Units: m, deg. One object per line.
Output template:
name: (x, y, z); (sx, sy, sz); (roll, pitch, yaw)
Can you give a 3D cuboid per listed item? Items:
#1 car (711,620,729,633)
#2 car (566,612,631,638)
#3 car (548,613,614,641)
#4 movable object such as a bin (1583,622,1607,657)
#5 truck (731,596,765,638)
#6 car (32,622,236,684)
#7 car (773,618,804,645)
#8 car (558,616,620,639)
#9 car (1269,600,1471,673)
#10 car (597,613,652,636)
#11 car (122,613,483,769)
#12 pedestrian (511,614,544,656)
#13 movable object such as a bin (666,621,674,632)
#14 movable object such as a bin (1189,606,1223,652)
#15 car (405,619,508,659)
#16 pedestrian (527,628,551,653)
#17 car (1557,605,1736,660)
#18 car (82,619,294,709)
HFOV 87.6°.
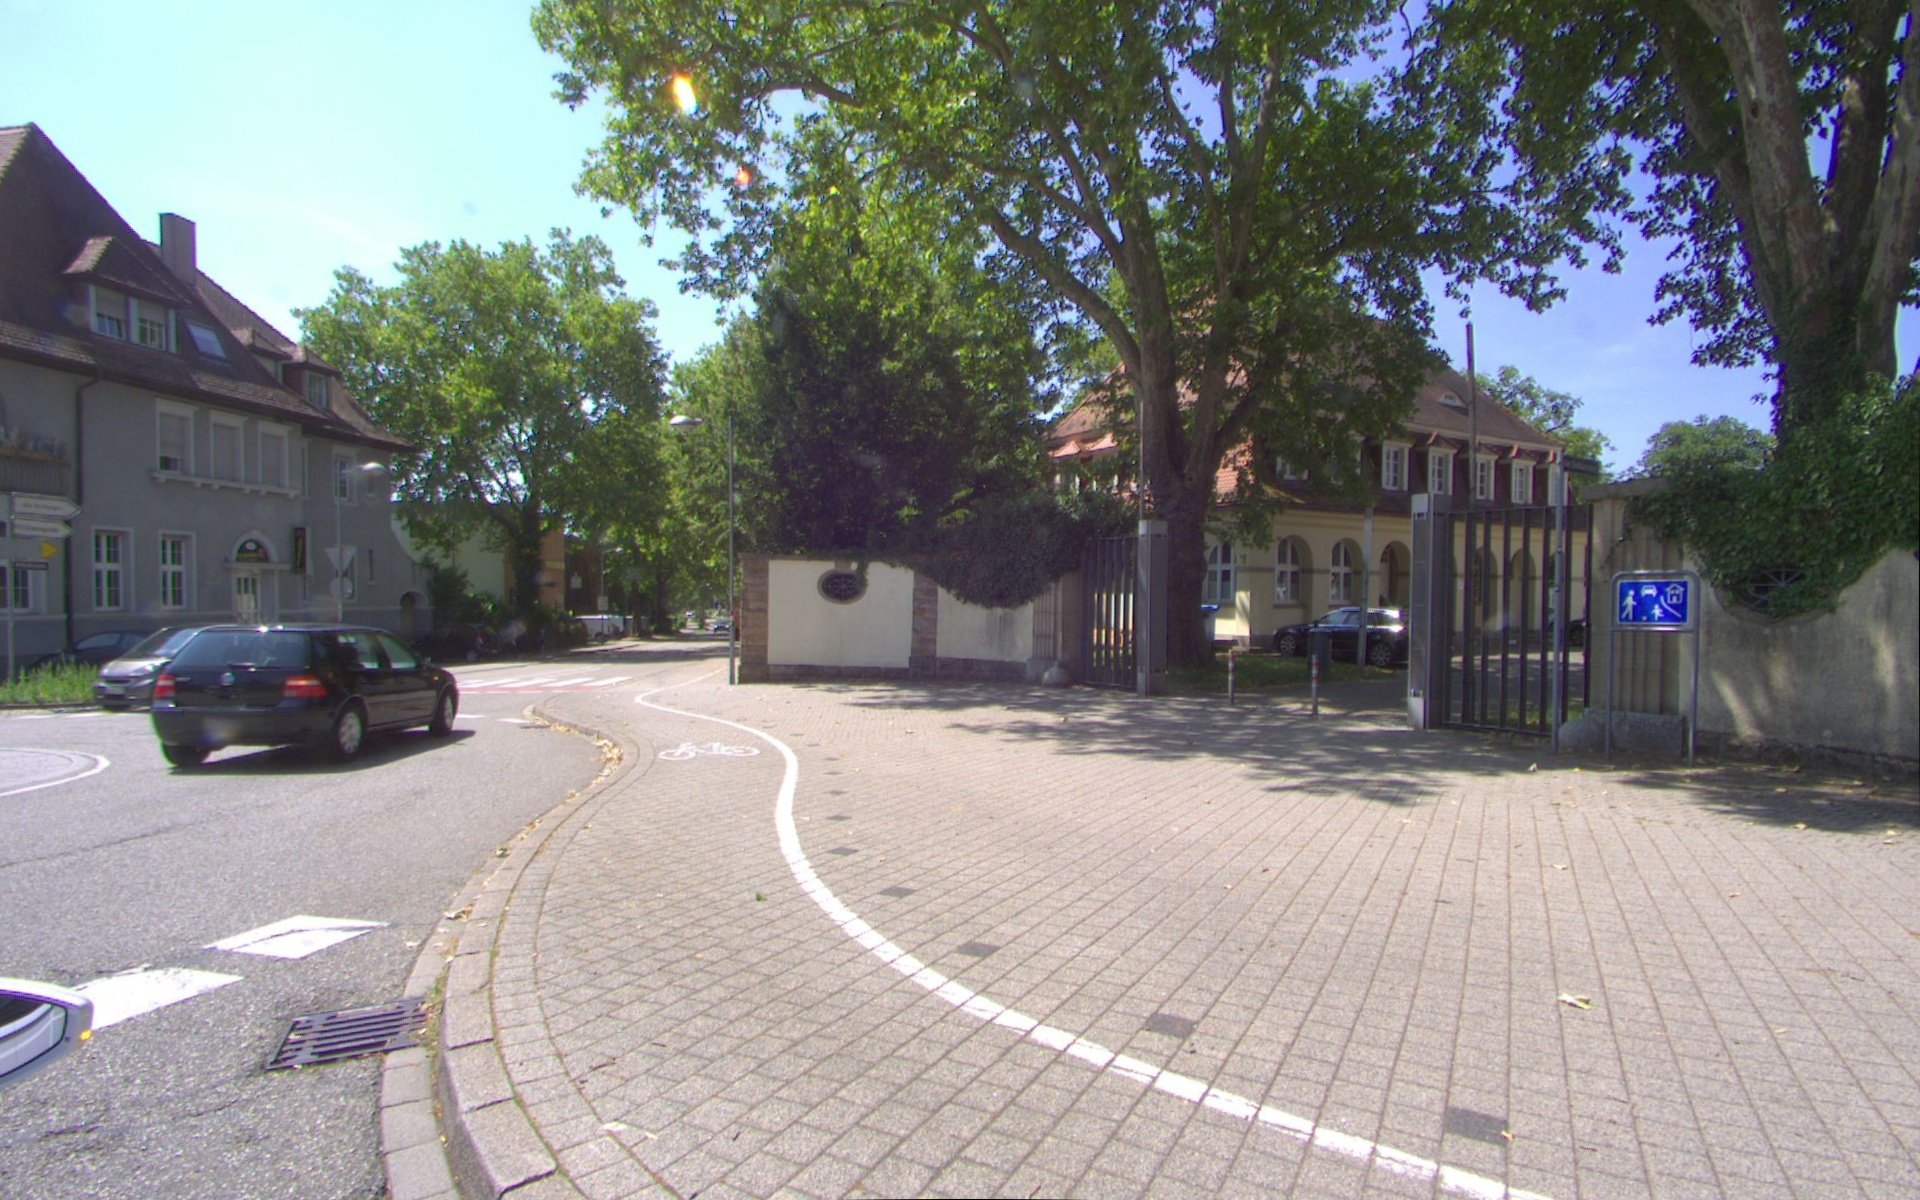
car: (-27.516, 3.089, 114.902); (1.741, 1.444, 4.390); (0, -1, -11)
car: (-27.471, 1.901, 76.195); (4.355, 1.827, 1.902); (2, -1, -11)
car: (-26.194, 1.859, 69.300); (3.926, 1.816, 1.867); (2, -1, -11)
movable object such as a bin: (18.622, 1.152, 29.367); (0.530, 1.021, 0.525); (-1, 0, 27)
truck: (-16.818, 1.402, 79.642); (2.333, 3.173, 5.769); (0, -2, -8)
car: (-20.507, 1.295, 24.964); (3.719, 1.479, 1.724); (0, -1, 2)
car: (-11.399, 2.090, 66.764); (1.713, 1.578, 4.777); (-2, 0, -7)
car: (-27.262, 2.009, 73.705); (3.926, 1.535, 1.867); (2, -1, -11)
car: (10.404, 0.856, 25.756); (1.972, 1.423, 4.472); (0, 4, -31)
car: (-28.195, 2.034, 84.239); (4.065, 1.827, 1.902); (2, -1, -11)
car: (-7.239, 0.931, 11.598); (1.683, 1.466, 4.059); (1, -2, -4)
pedestrian: (-18.283, 1.478, 42.364); (0.857, 1.765, 1.112); (0, -1, 3)
movable object such as a bin: (-29.719, 2.715, 102.513); (0.613, 1.062, 0.620); (0, 0, -1)
movable object such as a bin: (7.071, 0.832, 28.775); (0.661, 1.314, 0.672); (0, -1, -41)
car: (-20.488, 1.571, 40.826); (3.326, 1.567, 1.724); (0, -1, 2)
pedestrian: (-18.963, 1.815, 45.117); (0.742, 1.136, 0.897); (0, -1, -4)
car: (22.960, 1.021, 33.669); (1.972, 1.423, 4.472); (0, 4, -31)
car: (-14.388, 1.130, 18.812); (1.542, 1.550, 2.785); (-1, -1, 17)
